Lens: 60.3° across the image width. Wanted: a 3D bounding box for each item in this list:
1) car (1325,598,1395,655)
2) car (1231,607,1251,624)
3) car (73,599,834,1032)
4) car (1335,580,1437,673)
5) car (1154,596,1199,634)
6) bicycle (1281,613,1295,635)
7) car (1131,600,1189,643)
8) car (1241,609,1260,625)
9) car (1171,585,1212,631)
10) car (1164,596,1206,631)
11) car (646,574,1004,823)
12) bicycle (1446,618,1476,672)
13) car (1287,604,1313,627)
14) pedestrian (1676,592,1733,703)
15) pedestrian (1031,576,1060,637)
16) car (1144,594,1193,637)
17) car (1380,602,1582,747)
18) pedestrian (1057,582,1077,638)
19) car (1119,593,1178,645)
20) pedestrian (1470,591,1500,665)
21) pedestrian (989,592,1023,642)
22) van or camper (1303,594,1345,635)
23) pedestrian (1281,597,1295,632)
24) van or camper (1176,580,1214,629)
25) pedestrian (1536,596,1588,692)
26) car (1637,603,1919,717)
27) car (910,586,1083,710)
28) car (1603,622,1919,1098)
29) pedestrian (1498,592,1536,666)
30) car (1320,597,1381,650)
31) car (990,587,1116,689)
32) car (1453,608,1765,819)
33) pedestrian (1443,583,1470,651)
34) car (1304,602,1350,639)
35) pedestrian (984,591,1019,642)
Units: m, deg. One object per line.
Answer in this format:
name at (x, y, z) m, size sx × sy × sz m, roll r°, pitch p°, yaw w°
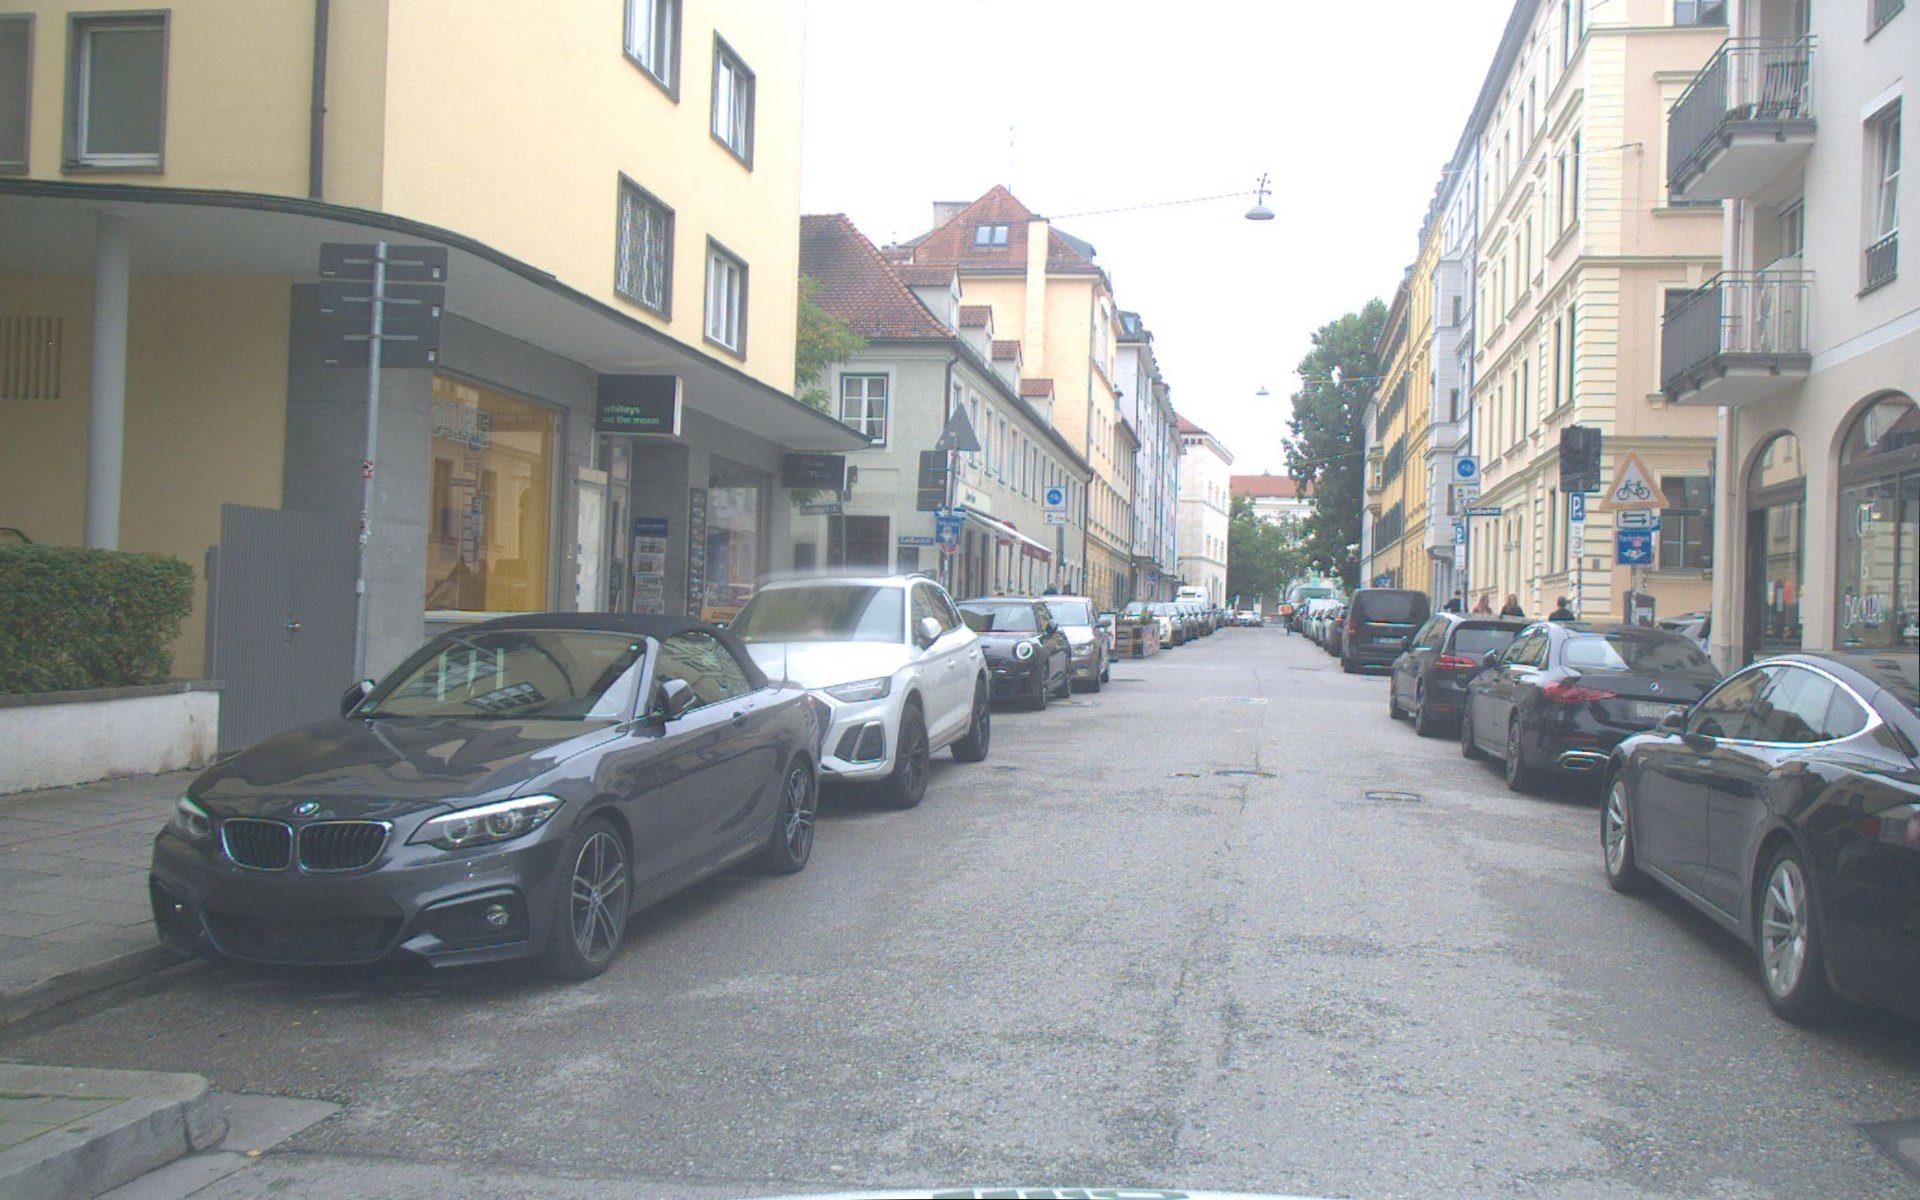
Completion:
car at (11.822, 0.782, 49.076) m, size 1.717 × 1.547 × 4.278 m, roll 2°, pitch 0°, yaw 11°
car at (26.934, 1.504, 158.355) m, size 1.670 × 1.609 × 3.866 m, roll 1°, pitch -1°, yaw 13°
car at (-1.947, 0.726, 7.757) m, size 1.708 × 1.435 × 4.101 m, roll 0°, pitch 0°, yaw 10°
car at (9.774, 0.575, 38.249) m, size 1.955 × 1.897 × 5.257 m, roll 3°, pitch 0°, yaw 12°
car at (8.935, 0.592, 68.407) m, size 1.777 × 1.467 × 4.134 m, roll 1°, pitch 0°, yaw 7°
bicycle at (16.983, 1.237, 85.709) m, size 0.661 × 1.114 × 1.761 m, roll 2°, pitch -1°, yaw 11°
car at (7.004, 0.714, 57.620) m, size 1.760 × 1.362 × 4.689 m, roll 2°, pitch 1°, yaw 9°
car at (28.847, 1.699, 164.240) m, size 1.670 × 1.609 × 3.866 m, roll 1°, pitch -1°, yaw 13°
car at (10.937, 0.382, 78.190) m, size 1.717 × 2.030 × 4.629 m, roll 2°, pitch 0°, yaw 6°
car at (10.015, 0.595, 73.343) m, size 1.717 × 1.433 × 4.106 m, roll 2°, pitch 0°, yaw 9°
car at (-0.862, 0.610, 13.146) m, size 1.764 × 1.611 × 4.342 m, roll 0°, pitch 1°, yaw 10°
bicycle at (10.993, 0.970, 36.289) m, size 0.455 × 1.071 × 1.731 m, roll 0°, pitch 2°, yaw 11°
car at (25.215, 1.163, 122.758) m, size 1.773 × 1.642 × 4.159 m, roll 2°, pitch 0°, yaw 11°
pedestrian at (11.464, 0.728, 25.478) m, size 0.621 × 1.676 × 0.527 m, roll 2°, pitch -2°, yaw 2°
pedestrian at (2.789, 0.215, 54.086) m, size 0.805 × 1.931 × 0.828 m, roll 2°, pitch -2°, yaw 9°
car at (8.001, 0.578, 63.316) m, size 1.717 × 1.522 × 4.204 m, roll 2°, pitch 0°, yaw 8°
car at (6.347, 0.829, 20.571) m, size 1.640 × 1.449 × 4.207 m, roll 4°, pitch 1°, yaw 8°
pedestrian at (3.518, 0.347, 54.320) m, size 0.517 × 1.813 × 0.878 m, roll 2°, pitch -2°, yaw 11°
car at (6.023, 0.582, 52.597) m, size 1.717 × 1.500 × 3.717 m, roll 3°, pitch 0°, yaw 7°
pedestrian at (11.991, 0.644, 37.790) m, size 0.462 × 1.653 × 1.070 m, roll 2°, pitch -2°, yaw 10°
pedestrian at (1.246, 0.465, 44.642) m, size 0.786 × 1.312 × 0.694 m, roll 2°, pitch -2°, yaw 11°
van or camper at (18.150, 0.714, 82.616) m, size 1.794 × 1.904 × 5.083 m, roll 2°, pitch 0°, yaw 11°
pedestrian at (17.004, 0.763, 85.761) m, size 0.628 × 1.744 × 0.843 m, roll 2°, pitch -2°, yaw 11°
van or camper at (11.905, 0.256, 83.566) m, size 1.717 × 2.321 × 5.277 m, roll 2°, pitch 0°, yaw 9°
pedestrian at (11.289, 0.821, 31.031) m, size 0.703 × 1.747 × 1.004 m, roll 2°, pitch -2°, yaw 9°
car at (13.490, 0.953, 27.226) m, size 4.001 × 1.633 × 1.757 m, roll 2°, pitch 2°, yaw 9°
car at (0.589, 0.593, 22.423) m, size 1.643 × 1.497 × 4.101 m, roll 1°, pitch 0°, yaw 11°
car at (4.313, 0.900, 7.406) m, size 1.764 × 1.435 × 4.660 m, roll 3°, pitch 1°, yaw 10°
pedestrian at (12.700, 0.671, 37.704) m, size 0.644 × 1.649 × 0.980 m, roll 2°, pitch -2°, yaw 10°
car at (12.836, 0.750, 54.571) m, size 1.706 × 1.611 × 4.470 m, roll 2°, pitch 0°, yaw 11°
car at (1.607, 0.561, 27.017) m, size 1.643 × 1.497 × 4.954 m, roll 1°, pitch 0°, yaw 8°
car at (5.669, 0.880, 15.007) m, size 1.611 × 1.449 × 4.513 m, roll 4°, pitch 1°, yaw 9°
pedestrian at (14.937, 0.519, 49.724) m, size 0.655 × 2.015 × 0.709 m, roll -1°, pitch -2°, yaw 11°
car at (16.195, 0.895, 73.091) m, size 1.672 × 1.479 × 4.100 m, roll 2°, pitch 0°, yaw 8°
pedestrian at (1.106, 0.449, 43.884) m, size 0.786 × 1.312 × 0.694 m, roll 2°, pitch -2°, yaw 11°
